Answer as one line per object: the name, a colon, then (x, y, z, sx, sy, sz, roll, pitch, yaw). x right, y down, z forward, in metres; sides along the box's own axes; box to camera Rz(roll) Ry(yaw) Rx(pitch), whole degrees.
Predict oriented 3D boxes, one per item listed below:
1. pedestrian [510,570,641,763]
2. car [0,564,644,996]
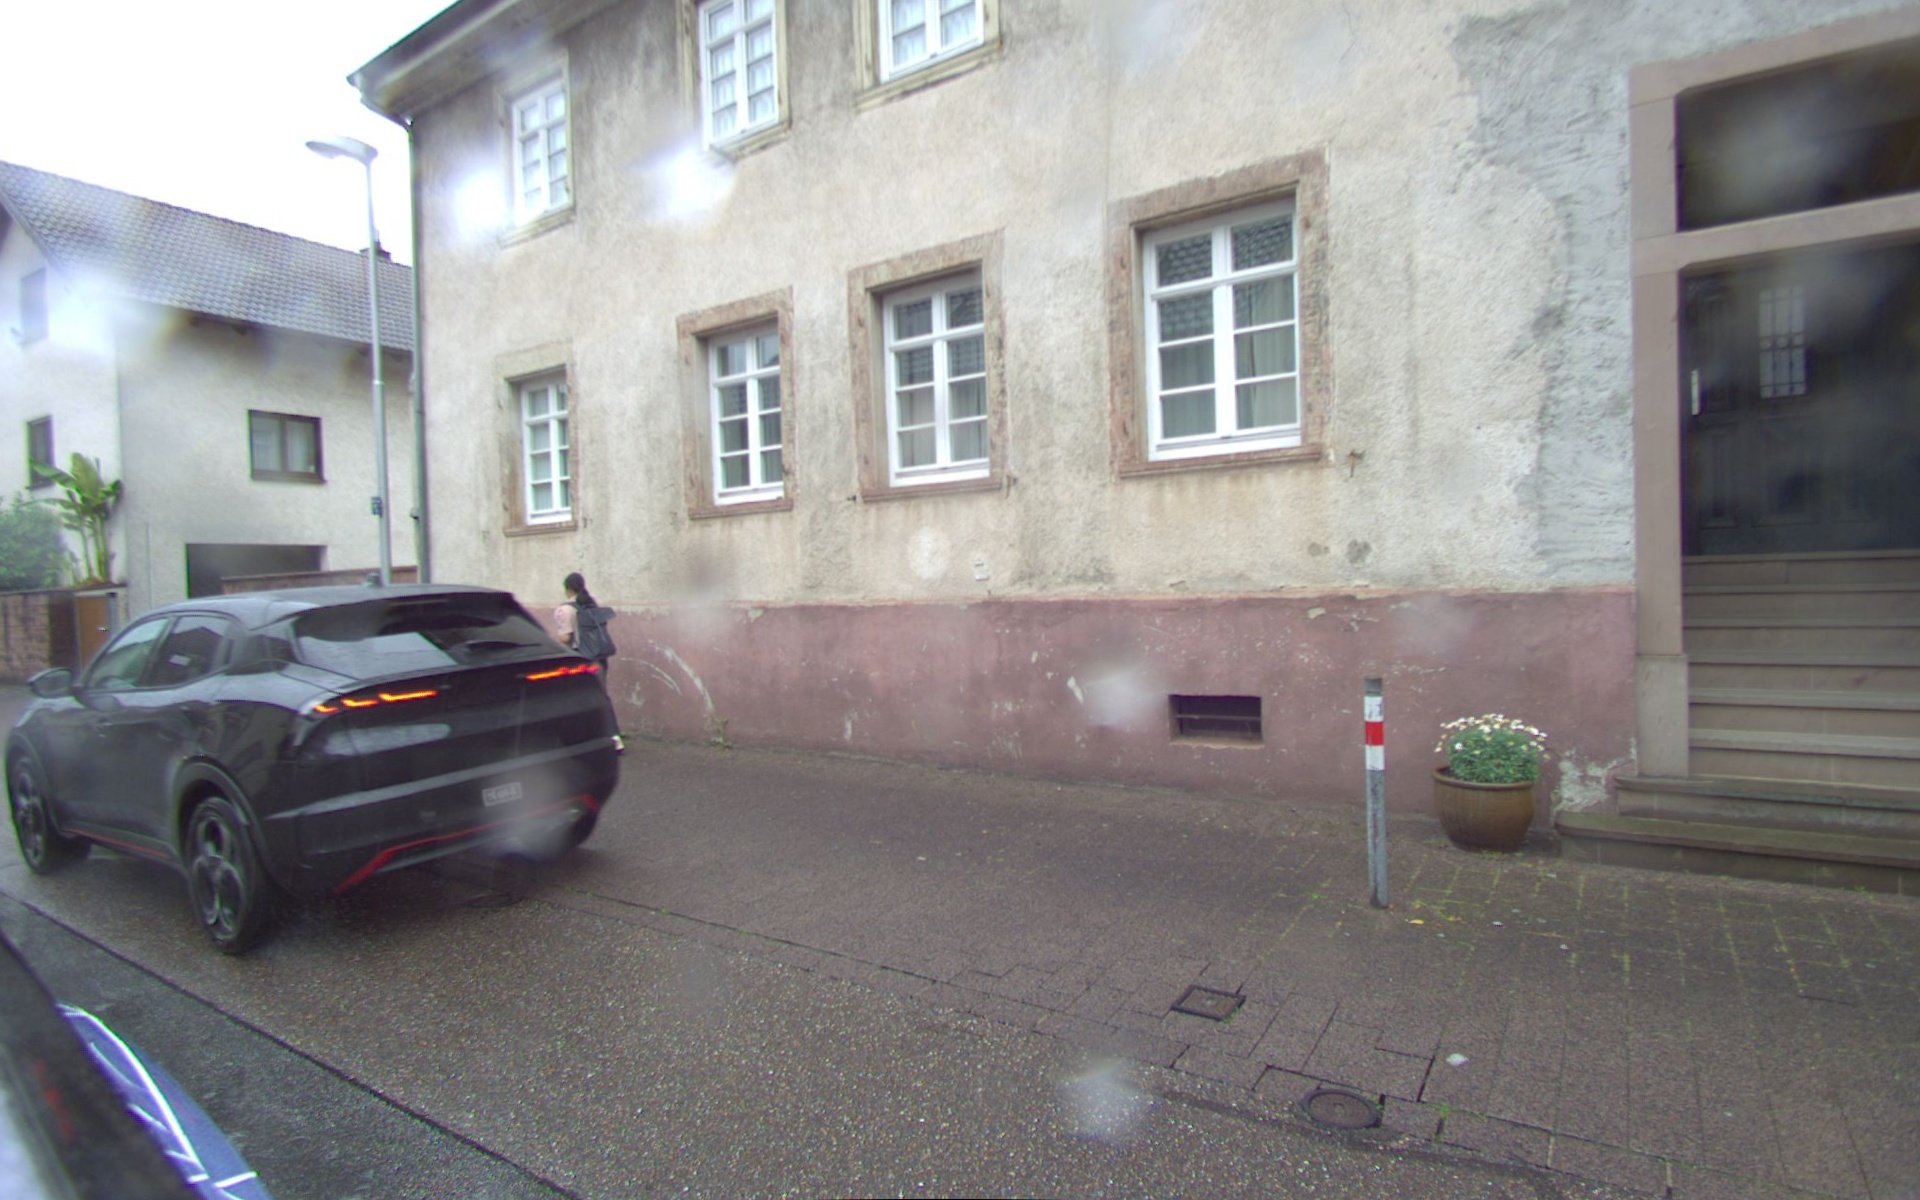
pedestrian: (-3.281, 0.539, 8.646, 0.829, 1.549, 0.568, -1, 2, 29)
car: (-3.640, 0.670, 5.414, 3.781, 1.522, 1.610, -1, 4, 33)
